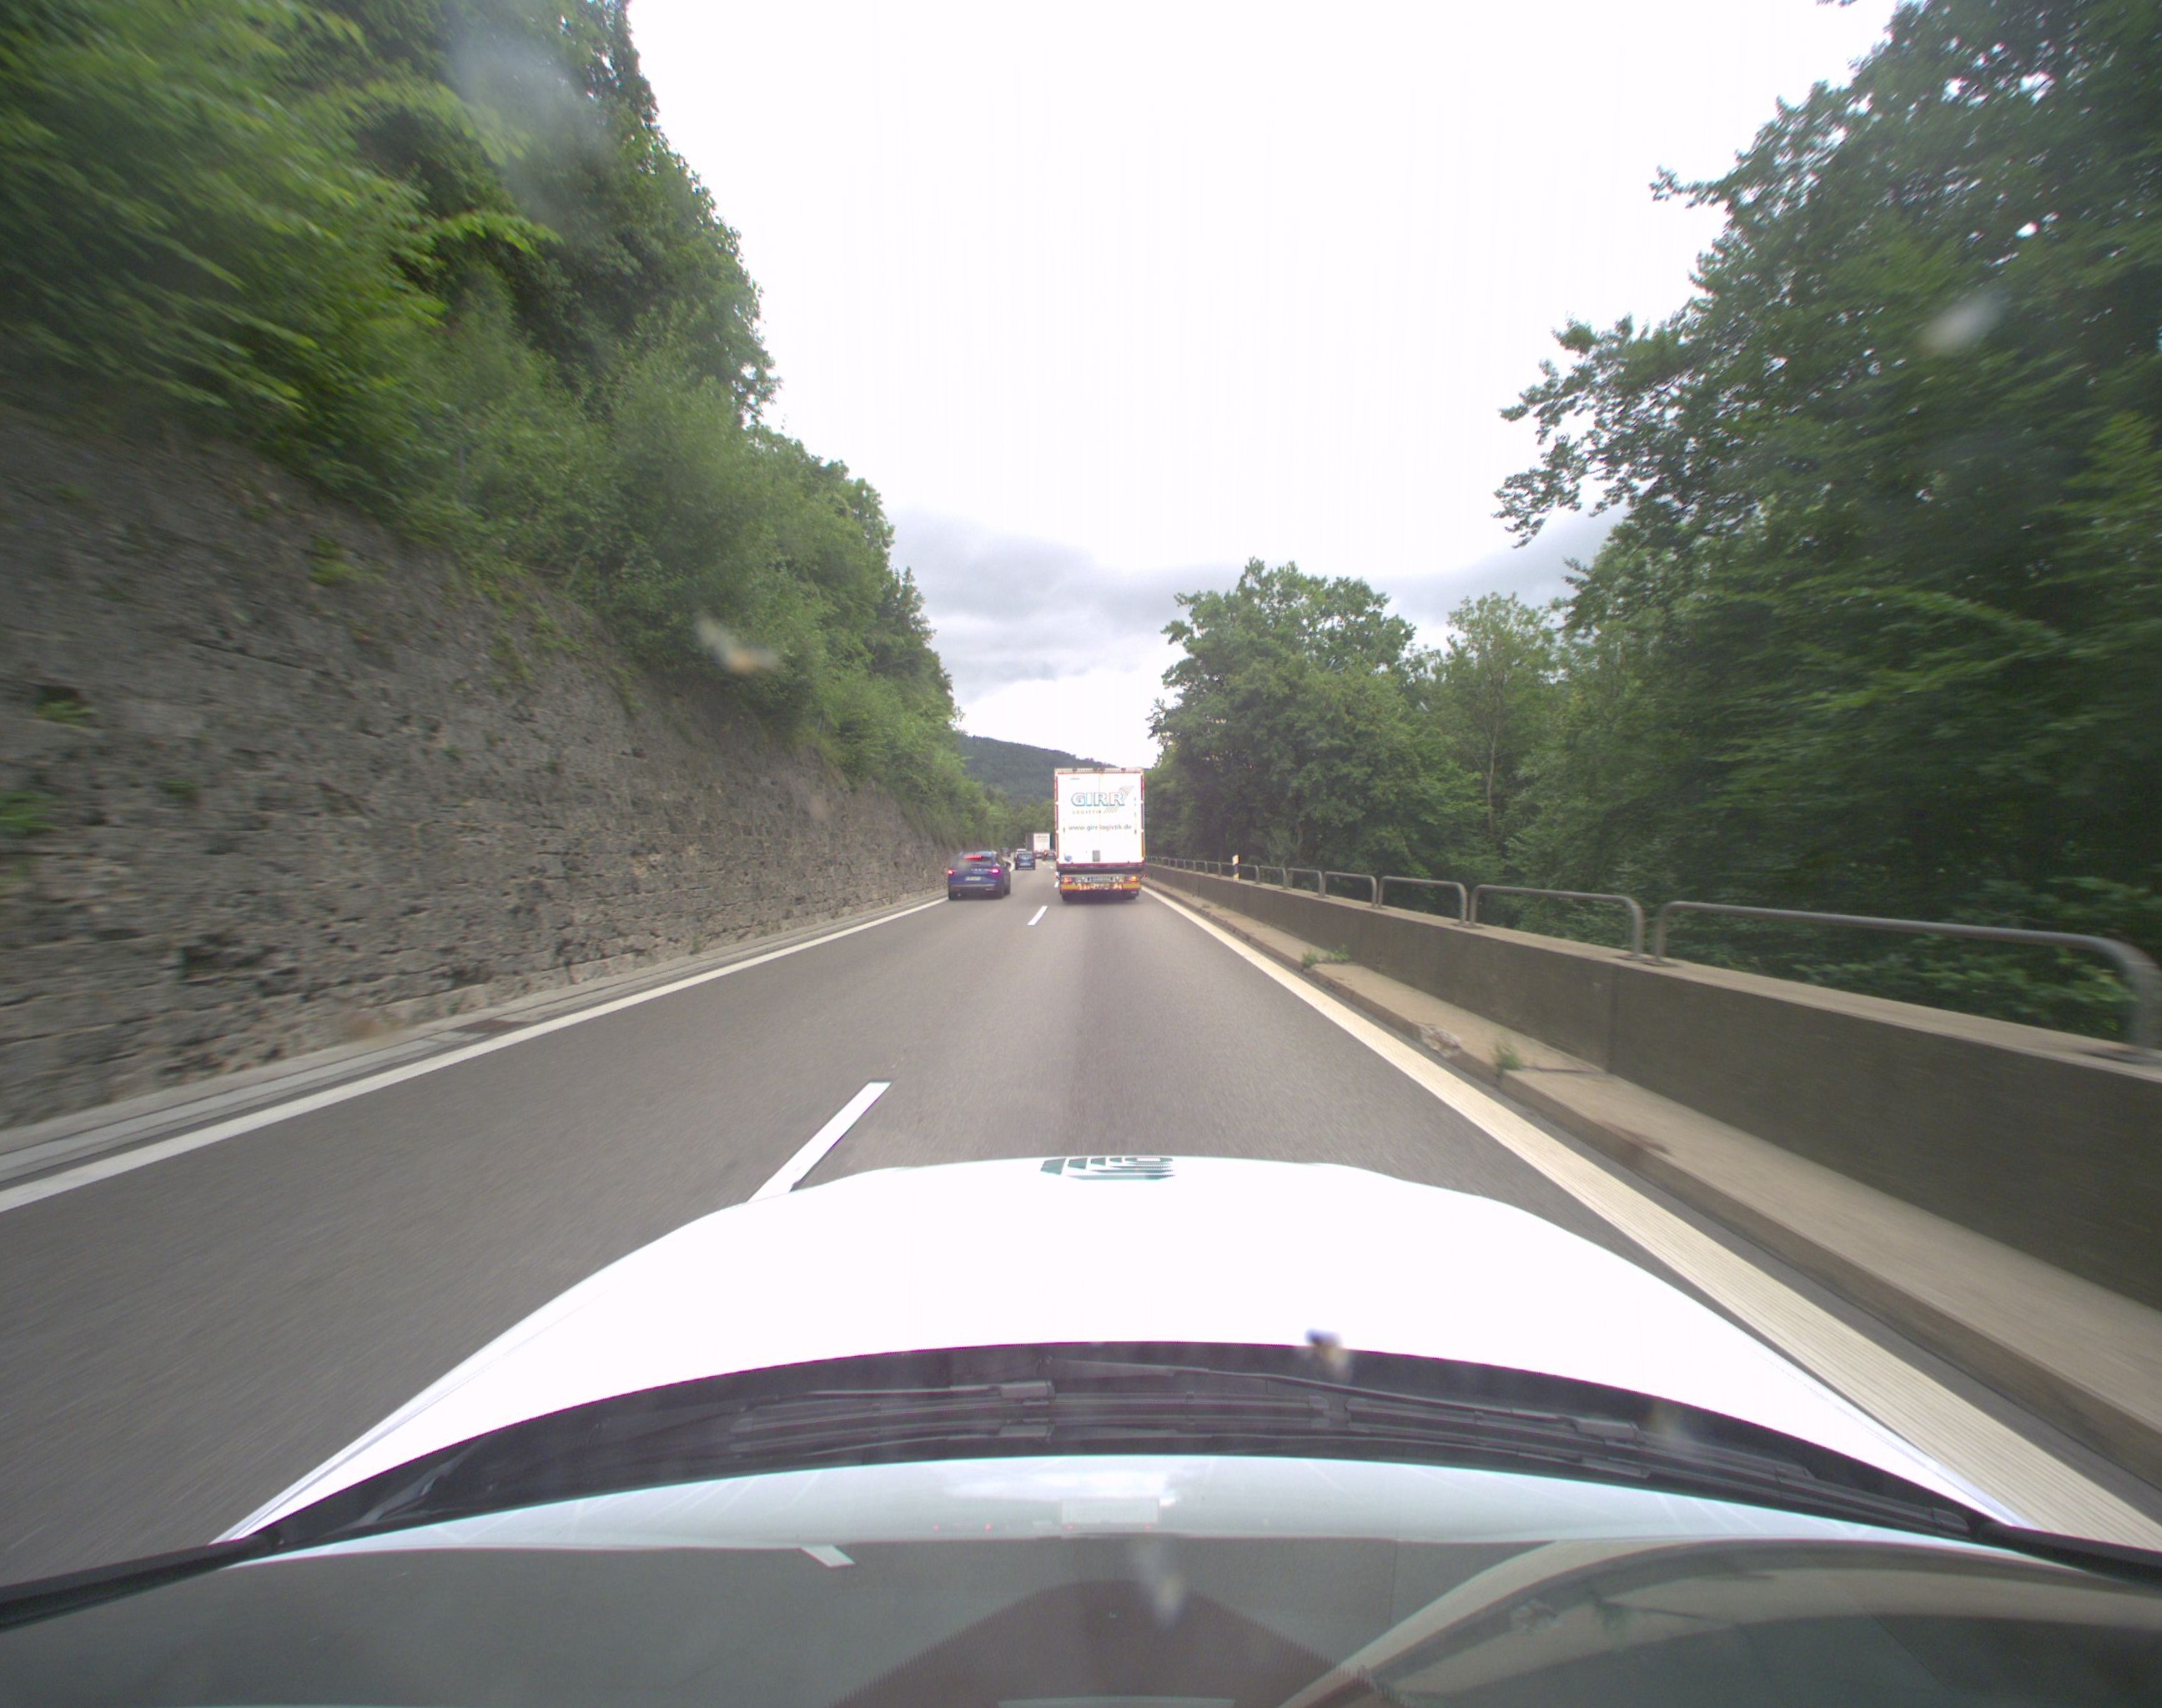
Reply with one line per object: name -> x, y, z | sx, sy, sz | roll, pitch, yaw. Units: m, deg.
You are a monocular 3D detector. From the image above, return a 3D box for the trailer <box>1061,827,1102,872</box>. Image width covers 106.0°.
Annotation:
trailer -> -0.085, -0.320, 60.848 | 2.208, 3.047, 11.122 | 0, 0, -4

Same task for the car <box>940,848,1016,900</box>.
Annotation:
car -> -3.528, 0.677, 28.859 | 1.987, 1.632, 5.007 | -2, -1, 0

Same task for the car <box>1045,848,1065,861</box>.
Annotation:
car -> -3.467, 0.049, 106.752 | 2.060, 1.654, 3.987 | -1, 0, -9

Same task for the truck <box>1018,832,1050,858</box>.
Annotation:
truck -> -7.547, -1.374, 128.428 | 2.639, 3.857, 12.296 | -1, 0, -15

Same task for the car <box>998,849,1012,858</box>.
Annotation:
car -> -13.740, -0.157, 146.329 | 1.900, 1.550, 4.229 | 0, 0, -14

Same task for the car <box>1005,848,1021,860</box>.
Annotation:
car -> -9.039, 0.008, 107.684 | 1.896, 1.550, 4.237 | 0, 0, -9

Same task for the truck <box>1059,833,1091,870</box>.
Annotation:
truck -> -0.532, -0.219, 66.525 | 2.205, 2.851, 4.995 | 0, 0, -5

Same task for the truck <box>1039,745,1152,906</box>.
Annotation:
truck -> 0.568, -0.873, 30.583 | 3.073, 4.463, 15.159 | -1, 0, 1

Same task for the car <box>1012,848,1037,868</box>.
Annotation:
car -> -4.722, 0.290, 67.828 | 1.991, 1.596, 4.345 | 0, 0, -6
